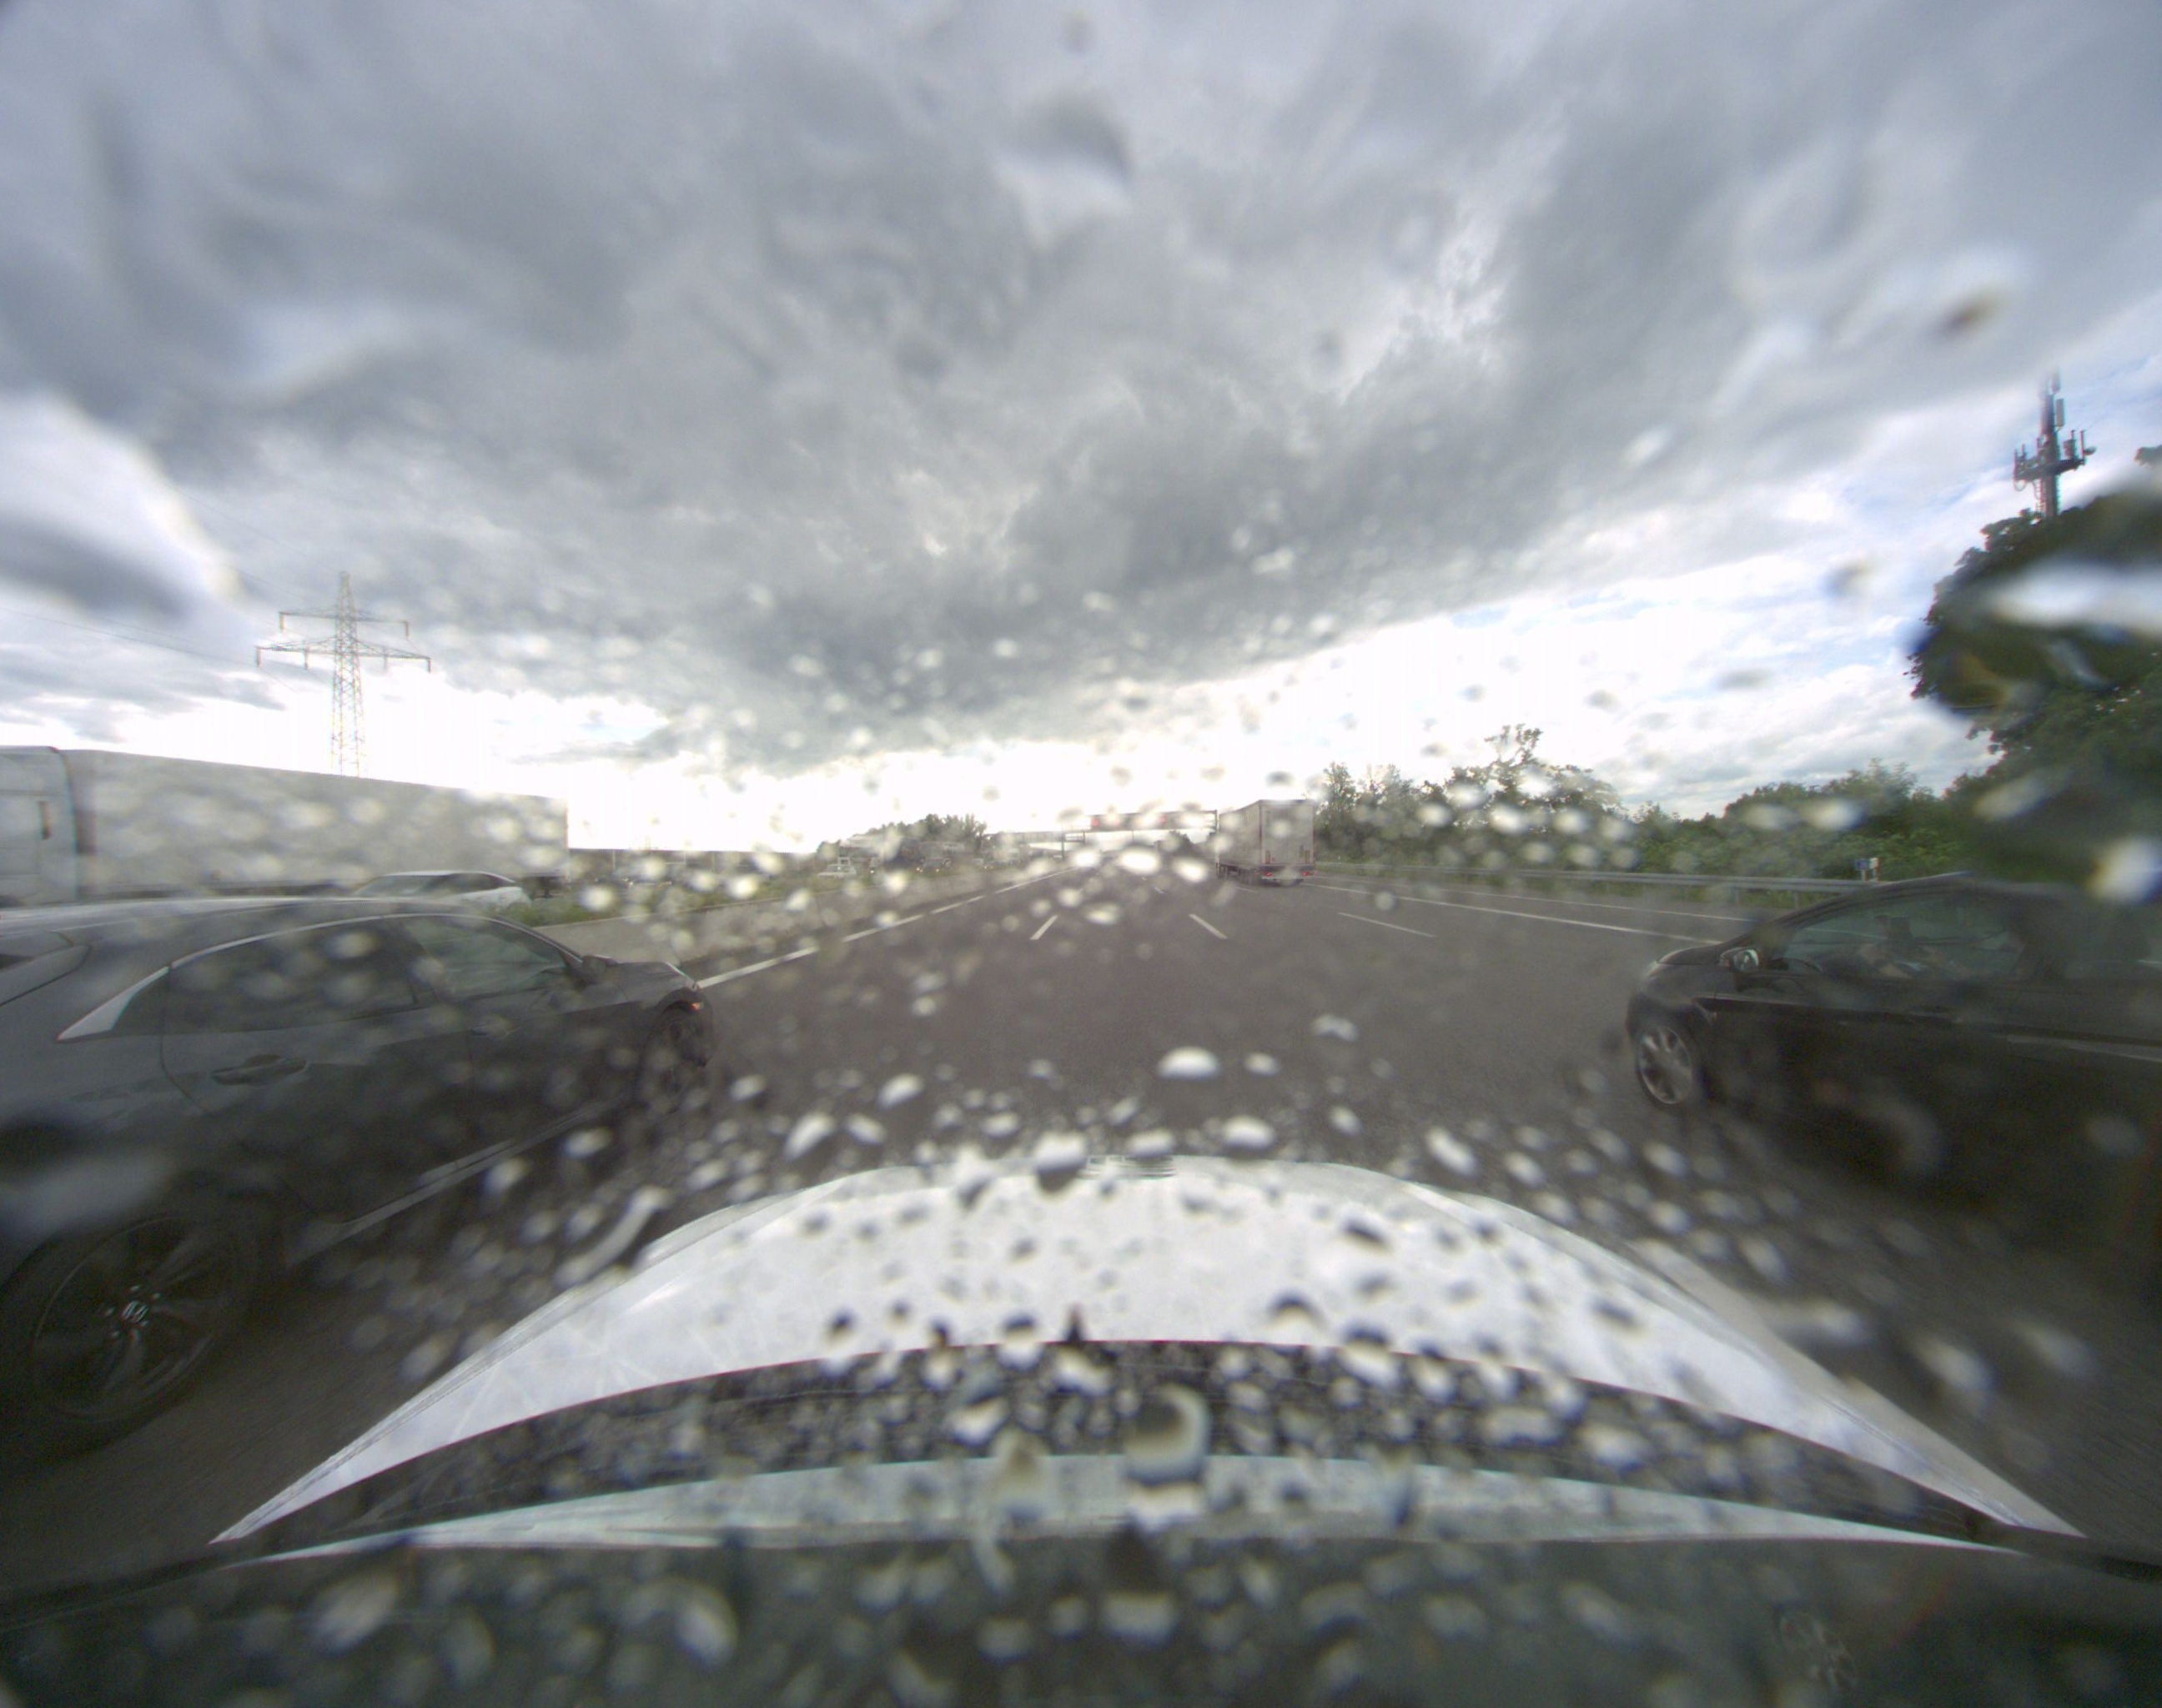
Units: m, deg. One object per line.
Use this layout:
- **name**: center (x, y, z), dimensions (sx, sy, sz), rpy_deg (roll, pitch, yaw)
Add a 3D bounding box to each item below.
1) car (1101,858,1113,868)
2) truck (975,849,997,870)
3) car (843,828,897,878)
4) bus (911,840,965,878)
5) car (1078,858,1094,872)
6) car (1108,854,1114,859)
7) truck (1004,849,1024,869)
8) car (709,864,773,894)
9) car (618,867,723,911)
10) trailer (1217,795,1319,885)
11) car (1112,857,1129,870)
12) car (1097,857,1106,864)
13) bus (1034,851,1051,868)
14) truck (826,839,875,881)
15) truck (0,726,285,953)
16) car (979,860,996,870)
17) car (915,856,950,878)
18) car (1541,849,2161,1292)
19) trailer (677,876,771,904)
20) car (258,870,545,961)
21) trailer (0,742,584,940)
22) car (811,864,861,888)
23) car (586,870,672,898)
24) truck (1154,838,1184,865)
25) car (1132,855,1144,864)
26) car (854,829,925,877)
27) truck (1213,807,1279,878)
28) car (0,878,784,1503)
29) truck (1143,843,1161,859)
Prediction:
- **car**: center (3.897, 1.283, 121.488), dimensions (1.766, 1.441, 4.056), rpy_deg (-1, 0, 1)
- **truck**: center (-18.774, 1.128, 161.633), dimensions (3.016, 3.933, 7.717), rpy_deg (-2, -1, 3)
- **car**: center (-18.209, -0.092, 70.648), dimensions (2.971, 4.150, 6.044), rpy_deg (0, 0, 2)
- **bus**: center (-14.411, 0.487, 83.163), dimensions (2.879, 3.611, 12.763), rpy_deg (0, 0, 2)
- **car**: center (0.573, 1.249, 93.287), dimensions (1.766, 1.441, 3.875), rpy_deg (-1, 0, 1)
- **car**: center (8.606, 0.640, 234.736), dimensions (1.765, 1.441, 4.058), rpy_deg (-1, 0, 2)
- **truck**: center (-13.793, 1.017, 168.471), dimensions (2.872, 3.961, 7.546), rpy_deg (0, 0, 5)
- **car**: center (-19.728, 1.406, 47.517), dimensions (1.781, 1.591, 4.387), rpy_deg (0, 0, 2)
- **car**: center (-15.993, 1.314, 32.020), dimensions (1.781, 1.562, 4.565), rpy_deg (0, 0, 1)
- **trailer**: center (9.659, -0.644, 43.904), dimensions (2.949, 4.020, 14.129), rpy_deg (-1, 0, 3)
- **car**: center (4.504, 1.084, 93.760), dimensions (1.766, 1.441, 4.056), rpy_deg (-1, 0, 1)
- **car**: center (4.329, 1.387, 171.486), dimensions (1.766, 1.441, 4.055), rpy_deg (-1, 0, 0)
- **bus**: center (-8.707, 1.217, 184.078), dimensions (2.642, 3.679, 10.644), rpy_deg (-2, -1, 4)
- **truck**: center (-23.260, 0.601, 82.579), dimensions (2.889, 4.116, 6.625), rpy_deg (0, 0, 2)
- **truck**: center (-21.001, -0.250, 16.251), dimensions (3.646, 4.048, 6.528), rpy_deg (0, 0, 2)
- **car**: center (-13.687, 1.647, 119.502), dimensions (1.710, 1.426, 4.862), rpy_deg (0, 0, 2)
- **car**: center (-11.614, 0.994, 63.867), dimensions (1.781, 1.666, 4.298), rpy_deg (0, 0, 2)
- **car**: center (4.016, 0.713, 4.270), dimensions (1.442, 1.441, 3.164), rpy_deg (-1, 0, 1)
- **trailer**: center (-15.945, 1.566, 36.707), dimensions (2.085, 1.070, 4.760), rpy_deg (0, 0, 1)
- **car**: center (-13.008, 1.093, 16.084), dimensions (1.781, 1.454, 4.565), rpy_deg (0, 0, 1)
- **trailer**: center (-20.627, -0.246, 23.647), dimensions (3.645, 4.108, 13.408), rpy_deg (0, 0, 3)
- **car**: center (-15.972, 1.433, 53.280), dimensions (1.781, 1.455, 4.566), rpy_deg (0, 0, 2)
- **car**: center (-23.138, 1.503, 41.889), dimensions (1.781, 1.243, 4.566), rpy_deg (0, 0, 2)
- **truck**: center (14.528, -0.362, 135.690), dimensions (4.164, 4.288, 12.618), rpy_deg (0, 0, 2)
- **car**: center (9.347, 0.922, 133.377), dimensions (1.828, 1.441, 4.058), rpy_deg (-1, 0, 2)
- **car**: center (-17.990, -0.075, 77.790), dimensions (2.971, 4.124, 14.400), rpy_deg (0, 0, 2)
- **truck**: center (9.962, -0.654, 49.825), dimensions (2.949, 4.020, 6.594), rpy_deg (-1, 0, 3)
- **car**: center (-3.332, 0.862, 3.970), dimensions (1.754, 1.369, 5.062), rpy_deg (-1, -1, 2)
- **truck**: center (18.626, -0.666, 215.554), dimensions (4.227, 4.176, 11.997), rpy_deg (0, 0, 3)
